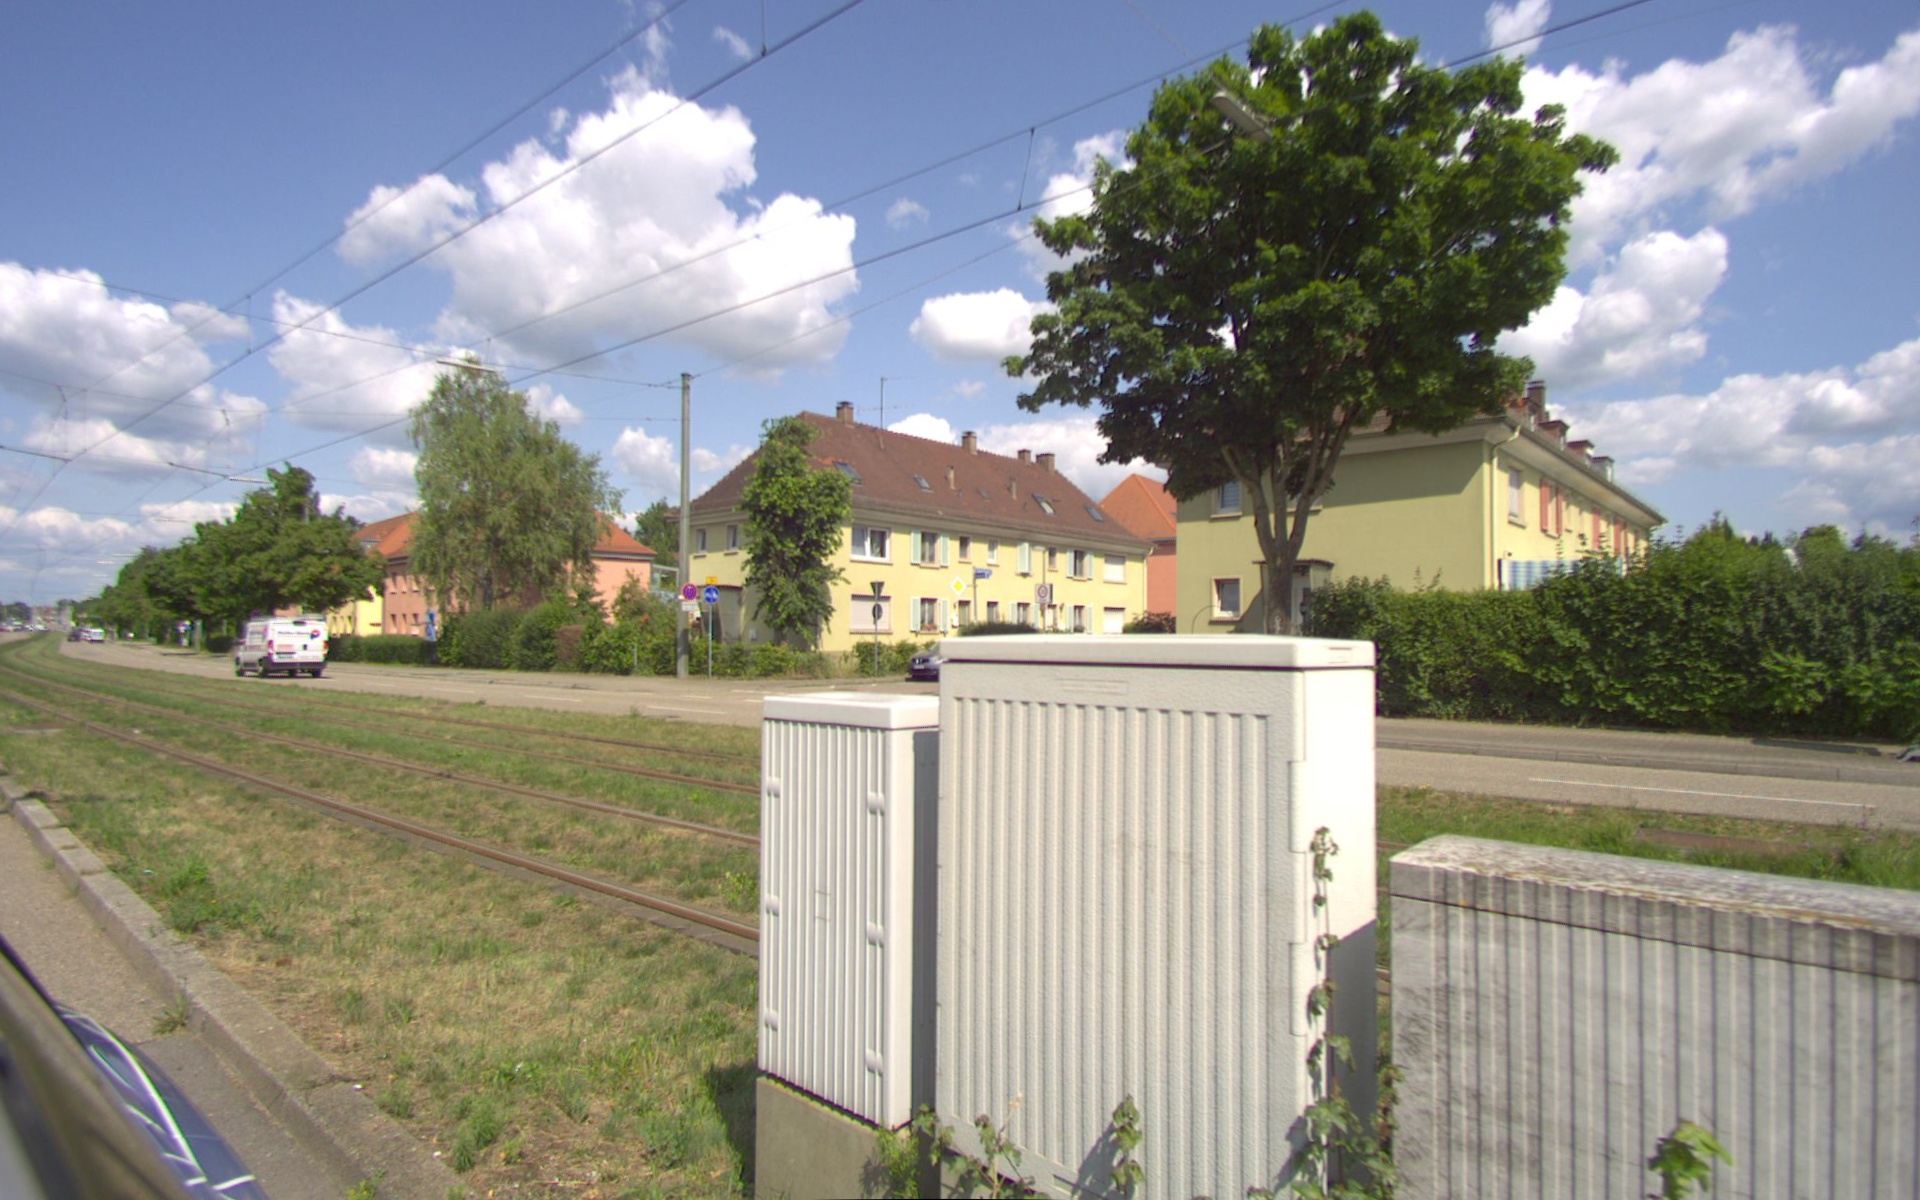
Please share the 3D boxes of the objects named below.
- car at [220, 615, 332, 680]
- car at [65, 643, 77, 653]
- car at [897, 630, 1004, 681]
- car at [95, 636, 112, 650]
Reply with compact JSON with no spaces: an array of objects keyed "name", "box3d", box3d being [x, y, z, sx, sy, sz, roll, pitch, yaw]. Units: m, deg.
[{"name":"car","box3d":[-27.083,1.864,40.006,5.328,2.390,2.174,-2,-4,40]},{"name":"car","box3d":[-171.451,9.259,195.109,1.665,1.760,4.232,3,-4,-42]},{"name":"car","box3d":[-0.303,2.005,36.066,1.822,1.699,3.702,-3,-5,41]},{"name":"car","box3d":[-155.276,7.856,183.356,2.007,2.455,5.784,5,-5,-42]}]
